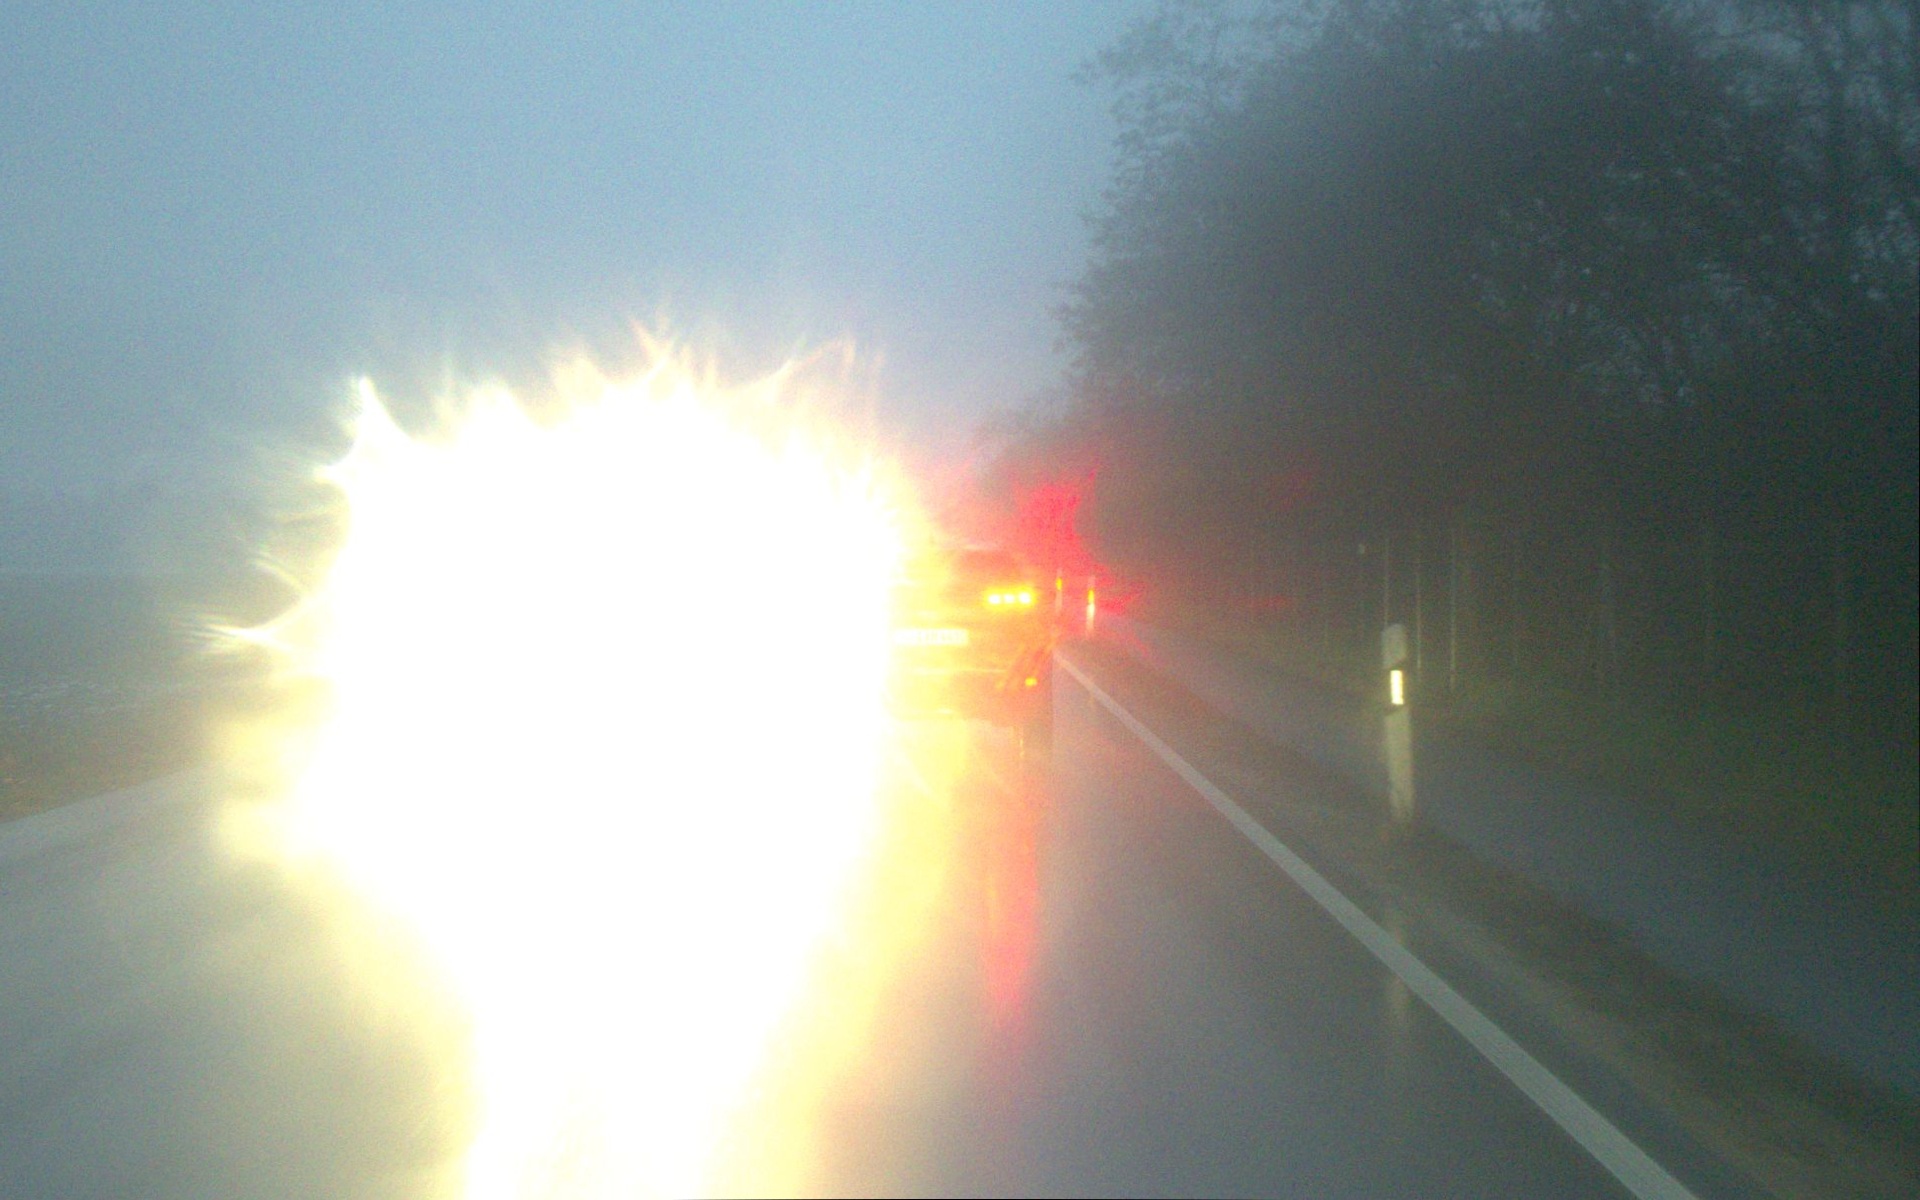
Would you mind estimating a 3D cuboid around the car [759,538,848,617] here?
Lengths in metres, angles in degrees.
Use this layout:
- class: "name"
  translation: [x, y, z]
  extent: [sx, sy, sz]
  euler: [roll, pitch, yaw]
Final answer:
- class: "car"
  translation: [-3.799, -0.568, 84.091]
  extent: [1.993, 1.816, 4.000]
  euler: [-3, 1, -1]

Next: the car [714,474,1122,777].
- class: "car"
  translation: [-0.275, 0.143, 26.982]
  extent: [2.820, 2.070, 5.804]
  euler: [1, 1, 0]

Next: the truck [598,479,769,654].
- class: "truck"
  translation: [-4.519, -0.577, 57.323]
  extent: [2.269, 2.625, 7.035]
  euler: [-3, 1, -1]

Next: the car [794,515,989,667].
- class: "car"
  translation: [-0.906, -0.152, 49.296]
  extent: [2.592, 2.007, 5.804]
  euler: [1, 1, 0]

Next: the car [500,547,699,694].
- class: "car"
  translation: [-3.827, 0.181, 37.051]
  extent: [1.728, 1.408, 4.023]
  euler: [-3, 1, -1]
